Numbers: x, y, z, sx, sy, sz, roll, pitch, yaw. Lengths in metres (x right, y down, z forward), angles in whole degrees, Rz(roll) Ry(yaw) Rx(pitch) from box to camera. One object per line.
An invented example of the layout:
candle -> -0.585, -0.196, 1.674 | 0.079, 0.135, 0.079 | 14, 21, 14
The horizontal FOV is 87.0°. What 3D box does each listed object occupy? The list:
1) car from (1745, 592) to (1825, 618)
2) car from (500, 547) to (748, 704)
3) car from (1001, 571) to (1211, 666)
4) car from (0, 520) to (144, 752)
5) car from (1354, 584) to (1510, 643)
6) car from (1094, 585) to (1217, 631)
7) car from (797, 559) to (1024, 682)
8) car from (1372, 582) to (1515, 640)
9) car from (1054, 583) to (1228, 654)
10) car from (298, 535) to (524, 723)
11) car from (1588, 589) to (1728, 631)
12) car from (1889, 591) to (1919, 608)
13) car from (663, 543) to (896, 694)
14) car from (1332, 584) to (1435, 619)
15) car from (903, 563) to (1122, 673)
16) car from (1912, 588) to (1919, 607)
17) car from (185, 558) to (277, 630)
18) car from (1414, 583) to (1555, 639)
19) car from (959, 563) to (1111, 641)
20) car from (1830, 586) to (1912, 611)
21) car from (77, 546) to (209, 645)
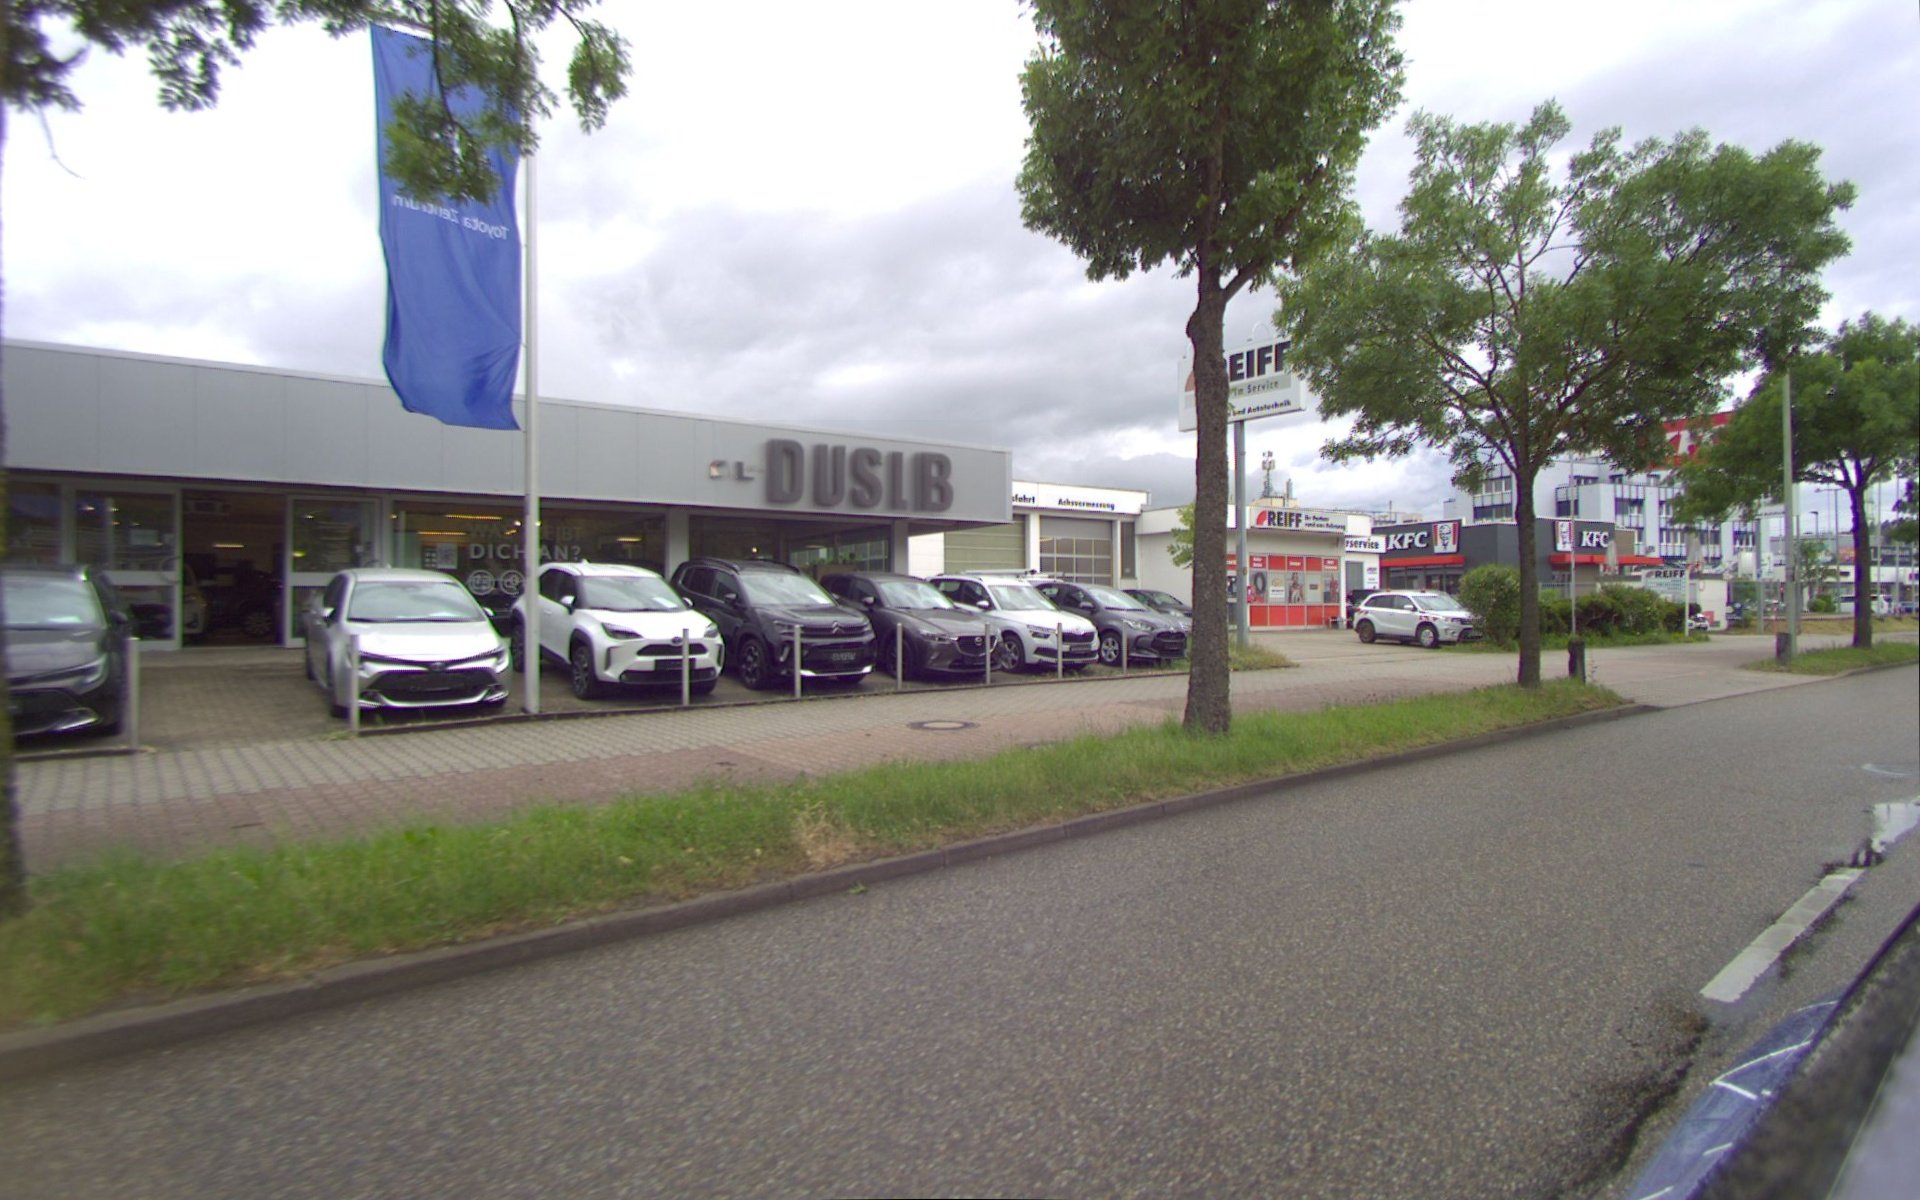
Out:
car -> 61.400, 0.339, 75.346 | 1.762, 1.806, 4.255 | 3, -1, -27
car -> -4.648, 0.218, 13.636 | 1.780, 1.606, 3.998 | 1, 4, -40
car -> 2.769, 0.290, 19.830 | 1.795, 1.479, 3.844 | 0, 4, -39
car -> -9.098, 0.183, 9.725 | 1.778, 1.808, 4.001 | 0, 4, -37
car -> 13.857, 0.355, 29.984 | 1.943, 1.617, 4.077 | 0, 1, -18
car -> 6.912, 0.271, 36.068 | 1.948, 1.522, 4.065 | 0, 0, -38
car -> -0.940, 0.229, 16.638 | 1.778, 1.604, 4.001 | 0, 4, -37
car -> 15.291, 0.319, 32.273 | 1.783, 1.683, 4.164 | 2, 0, -15
car -> 4.225, 0.378, 23.895 | 3.676, 1.482, 1.767 | 2, 1, 41
car -> -6.580, 0.174, 11.906 | 1.778, 1.808, 4.000 | 0, 3, -37
car -> 27.497, 0.377, 39.993 | 1.852, 1.571, 4.192 | 0, 0, -30
car -> 84.693, -0.040, 88.795 | 1.785, 1.411, 4.383 | 0, 0, -23
car -> -2.810, 0.148, 15.068 | 1.778, 1.808, 4.001 | 0, 4, -37
car -> 18.650, 0.054, 44.692 | 1.754, 1.497, 3.857 | 0, 0, -36
car -> 0.828, 0.231, 18.262 | 1.778, 1.562, 4.001 | 0, 4, -37
car -> 89.746, -0.241, 91.927 | 1.857, 1.786, 4.383 | 0, 0, -23
car -> -17.081, -0.145, 23.735 | 1.642, 1.555, 3.474 | 0, 0, -36
car -> 17.302, 0.340, 33.643 | 1.783, 1.683, 4.164 | 2, 0, -15
car -> 2.176, 0.048, 30.484 | 1.930, 2.177, 4.663 | 0, 0, -39
car -> 77.499, -0.125, 86.147 | 1.958, 2.039, 4.797 | 1, 0, -22
car -> -14.366, -0.084, 17.941 | 1.643, 1.555, 3.998 | 0, 0, -37
